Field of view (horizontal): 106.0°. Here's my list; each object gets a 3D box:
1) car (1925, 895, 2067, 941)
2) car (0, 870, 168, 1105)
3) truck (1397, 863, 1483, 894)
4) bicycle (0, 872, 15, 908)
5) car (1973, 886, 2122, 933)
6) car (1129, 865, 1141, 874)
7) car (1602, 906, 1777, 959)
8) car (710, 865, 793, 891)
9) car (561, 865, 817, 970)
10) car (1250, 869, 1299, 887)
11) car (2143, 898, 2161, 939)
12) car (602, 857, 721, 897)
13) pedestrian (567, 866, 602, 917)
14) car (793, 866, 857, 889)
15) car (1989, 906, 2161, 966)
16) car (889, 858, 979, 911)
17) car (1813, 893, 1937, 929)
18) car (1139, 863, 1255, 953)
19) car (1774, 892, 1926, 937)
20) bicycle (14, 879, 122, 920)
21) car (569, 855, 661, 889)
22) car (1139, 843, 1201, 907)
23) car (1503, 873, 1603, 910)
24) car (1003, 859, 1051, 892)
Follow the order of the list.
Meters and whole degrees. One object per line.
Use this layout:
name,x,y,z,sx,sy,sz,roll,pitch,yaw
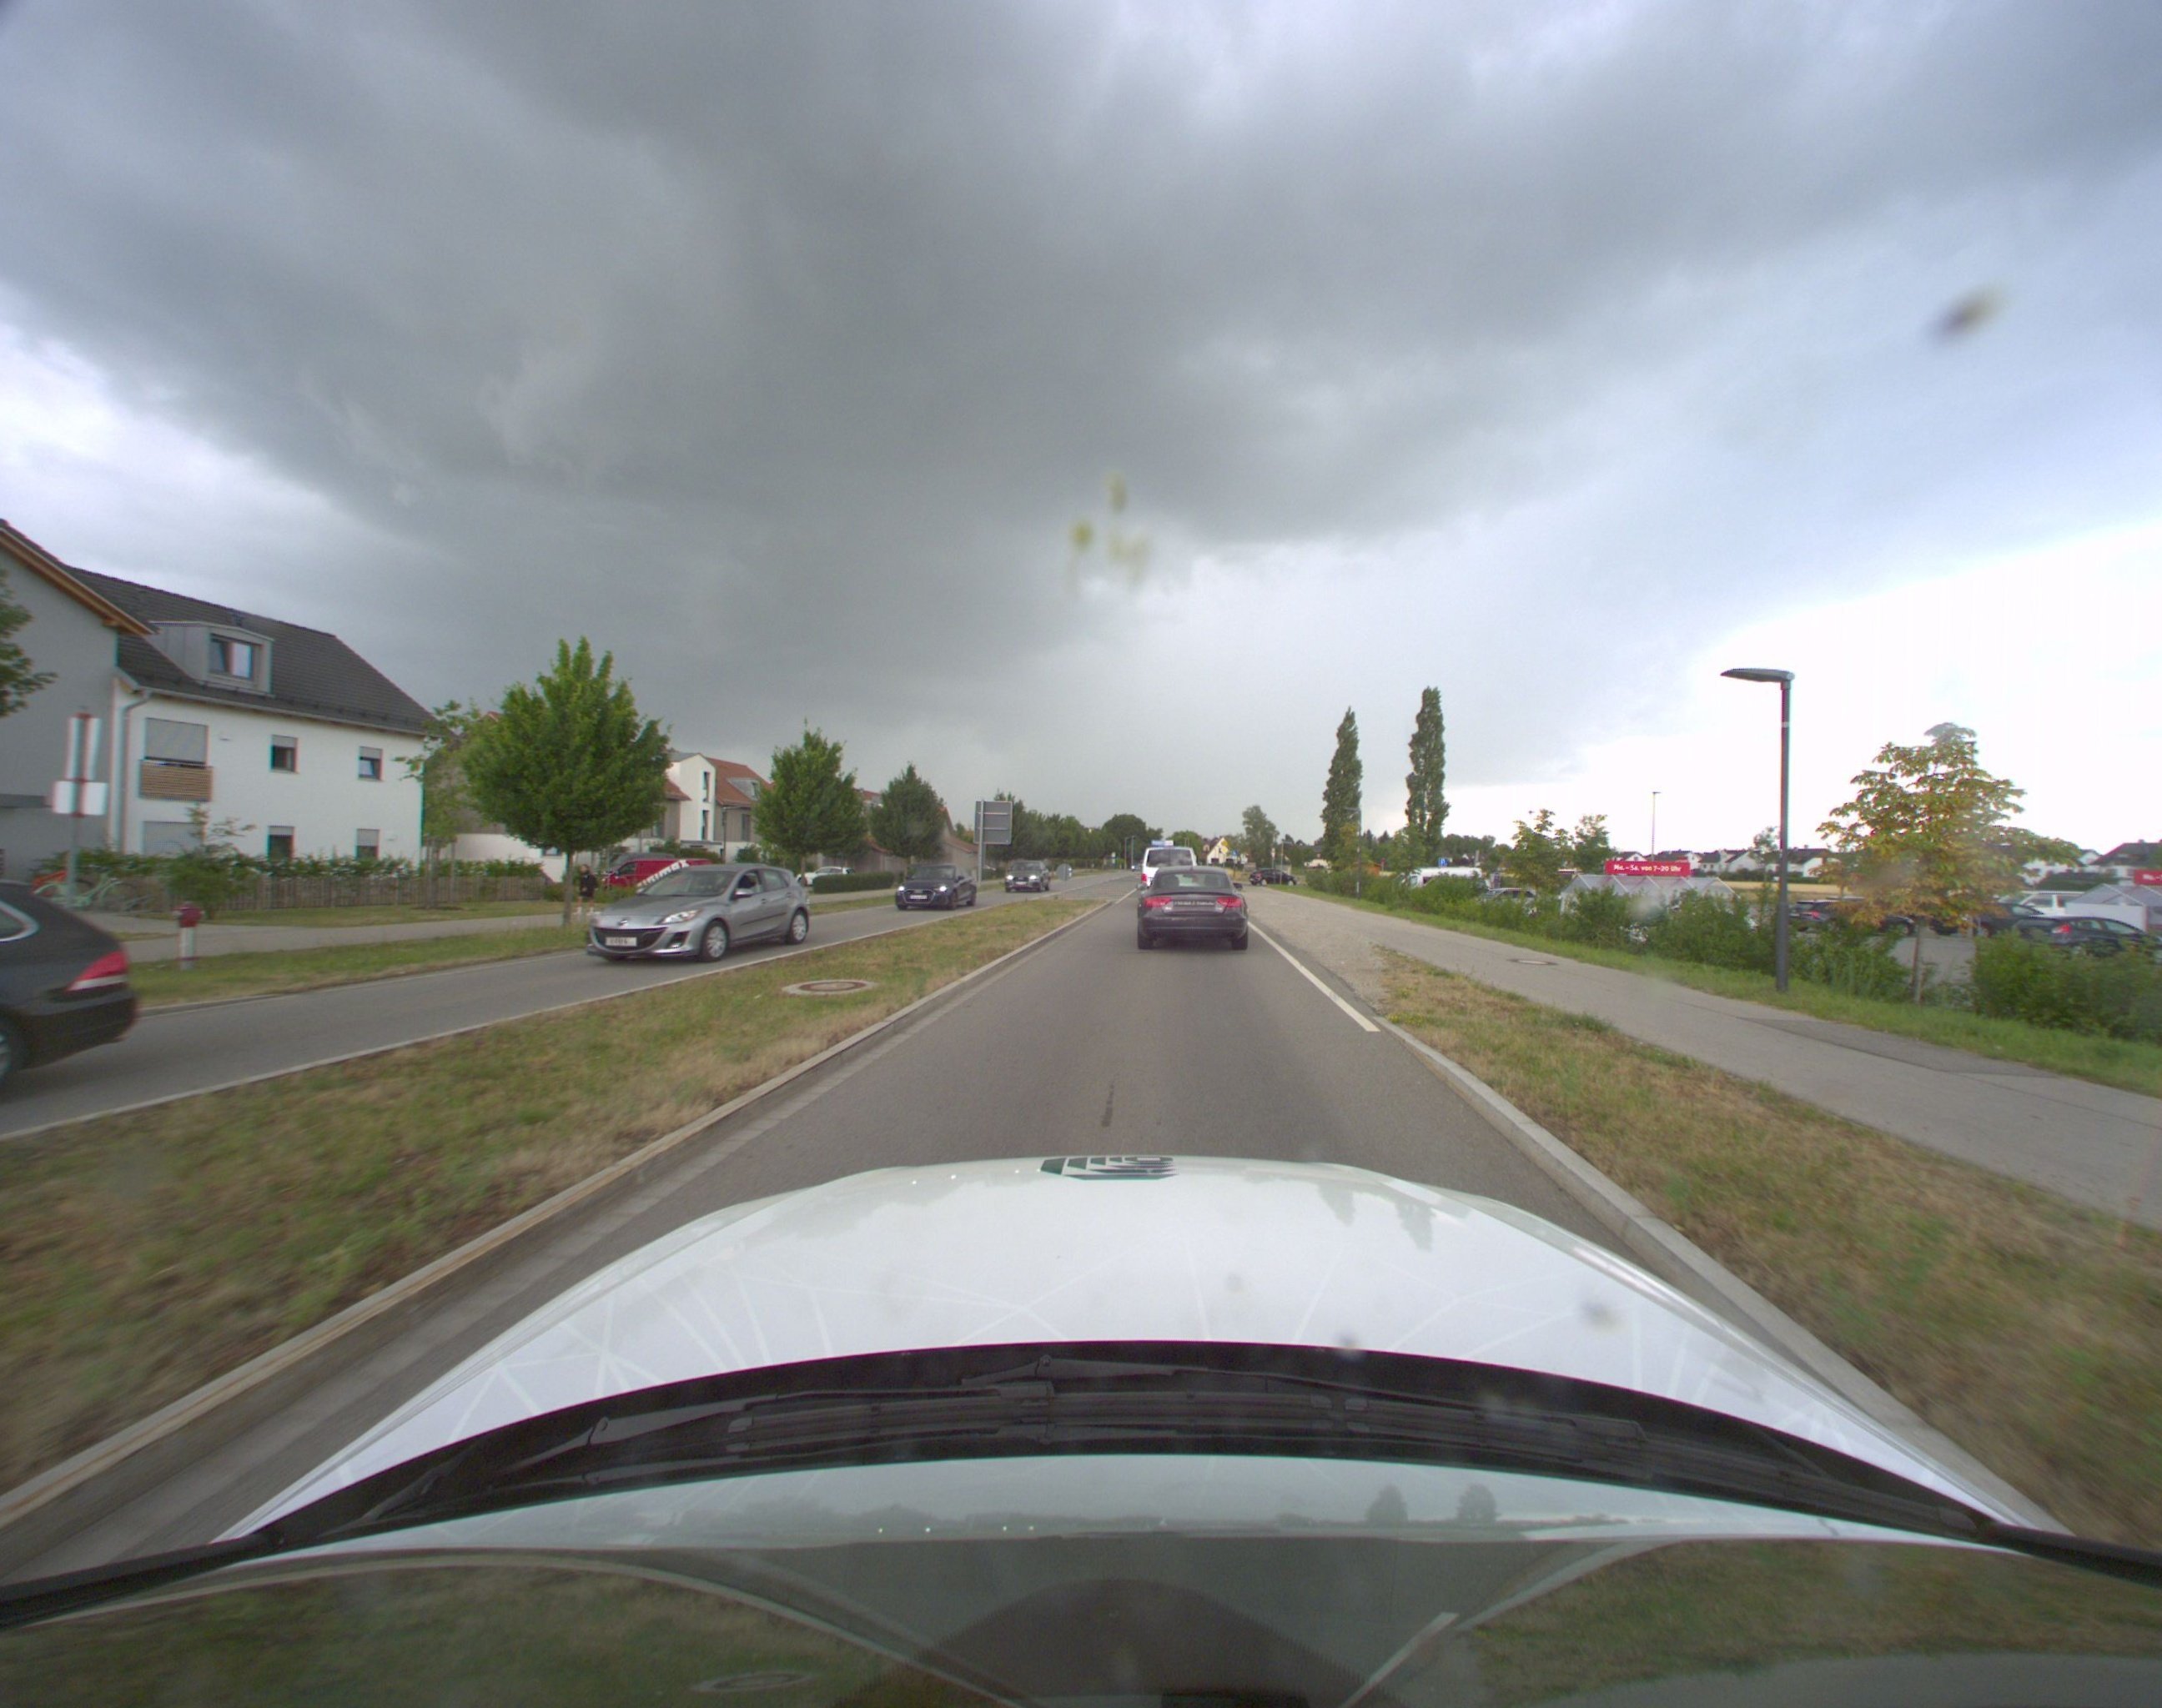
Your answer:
car,39.218,2.737,34.991,3.967,1.706,1.718,2,-1,6
car,-7.561,0.804,3.611,1.744,1.416,4.462,-2,-1,6
truck,23.518,1.587,53.435,4.778,1.872,2.001,2,-1,2
bicycle,-26.009,0.845,18.992,0.365,0.843,1.340,4,-1,8
car,46.057,2.646,38.884,5.099,2.013,1.997,1,0,-5
car,9.749,2.741,146.780,1.986,1.508,4.001,2,-1,2
car,19.938,2.542,26.863,4.211,1.440,2.003,1,-1,6
car,-18.771,1.358,46.439,3.897,1.315,1.844,2,-1,4
car,-6.078,0.910,13.279,1.721,1.410,4.213,0,-1,7
car,15.439,1.912,65.038,3.495,1.372,1.441,2,-1,-5
car,51.627,3.018,36.932,3.963,1.838,2.005,1,-1,9
car,-19.477,1.058,37.917,4.503,1.680,2.005,2,-1,9
pedestrian,-15.370,1.145,25.215,0.579,1.559,0.661,1,-1,5
car,-17.569,1.602,55.981,3.714,1.482,1.688,2,-1,3
car,32.957,2.655,26.489,4.381,1.664,2.003,1,-1,6
car,-4.653,0.947,26.373,1.858,1.574,4.005,0,-1,5
car,39.825,2.843,40.931,4.288,1.578,1.771,1,-1,8
car,1.952,0.870,14.677,1.776,1.391,4.137,0,-1,4
car,33.357,2.603,35.440,4.533,1.664,2.003,1,-1,6
bicycle,-23.352,1.032,18.816,0.365,0.843,1.550,4,0,8
car,-26.204,1.017,46.017,1.980,1.772,4.479,1,-1,11
car,2.893,0.681,27.090,1.859,1.934,4.004,-1,-1,4
car,23.827,1.876,41.220,3.902,1.684,1.929,2,-1,4
car,-2.691,1.090,41.412,1.858,1.574,4.005,0,-1,5
